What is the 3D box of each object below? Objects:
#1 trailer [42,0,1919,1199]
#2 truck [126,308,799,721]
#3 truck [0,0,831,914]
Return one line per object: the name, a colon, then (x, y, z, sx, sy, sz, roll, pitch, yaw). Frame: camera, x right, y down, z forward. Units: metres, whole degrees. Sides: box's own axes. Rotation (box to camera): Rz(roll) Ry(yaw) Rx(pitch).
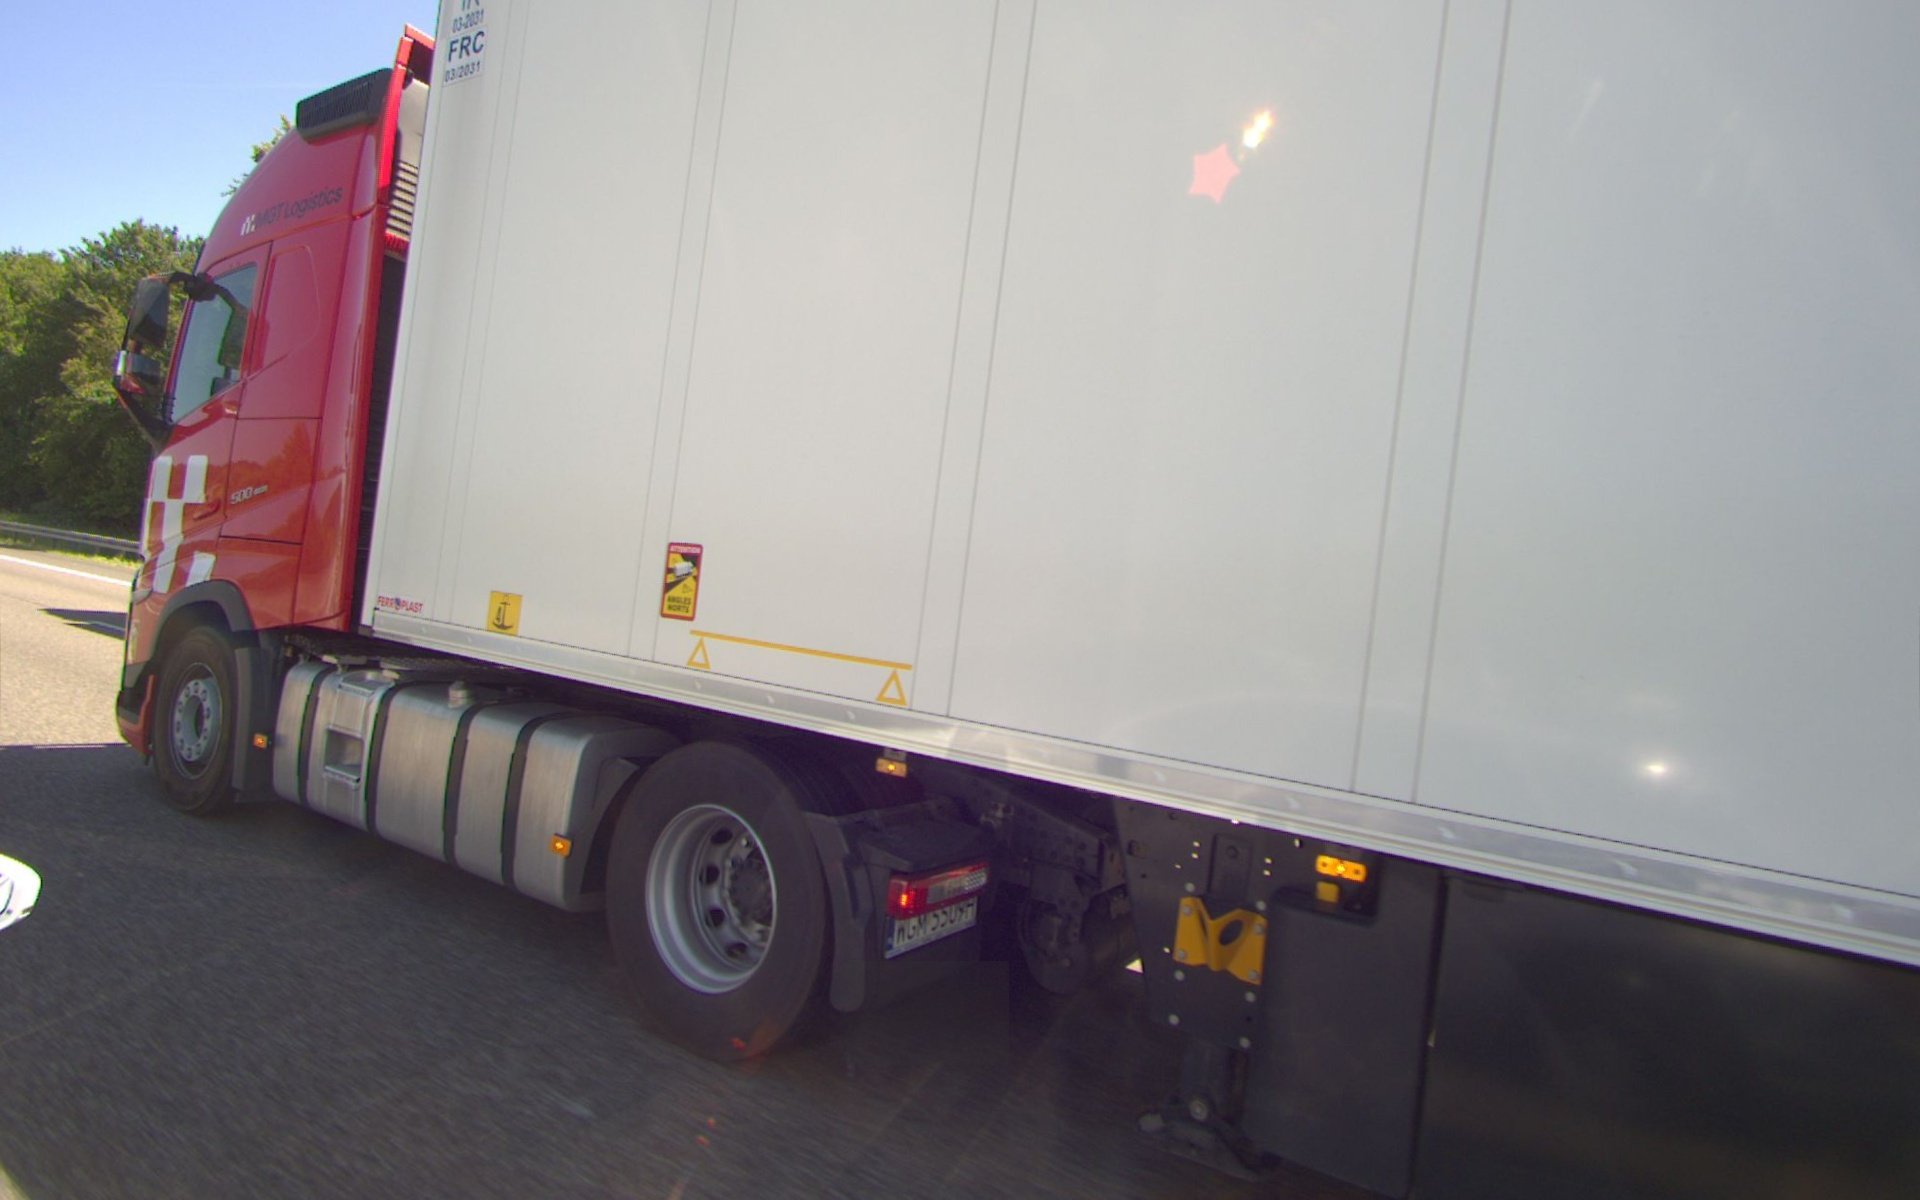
trailer: (2.558, -0.102, 2.796, 15.931, 4.065, 2.943, 6, -1, 31)
truck: (-7.562, -1.192, 14.198, 10.798, 4.141, 3.030, 6, -1, 33)
truck: (-4.390, -0.824, 7.061, 6.000, 4.033, 2.946, 6, -1, 31)
